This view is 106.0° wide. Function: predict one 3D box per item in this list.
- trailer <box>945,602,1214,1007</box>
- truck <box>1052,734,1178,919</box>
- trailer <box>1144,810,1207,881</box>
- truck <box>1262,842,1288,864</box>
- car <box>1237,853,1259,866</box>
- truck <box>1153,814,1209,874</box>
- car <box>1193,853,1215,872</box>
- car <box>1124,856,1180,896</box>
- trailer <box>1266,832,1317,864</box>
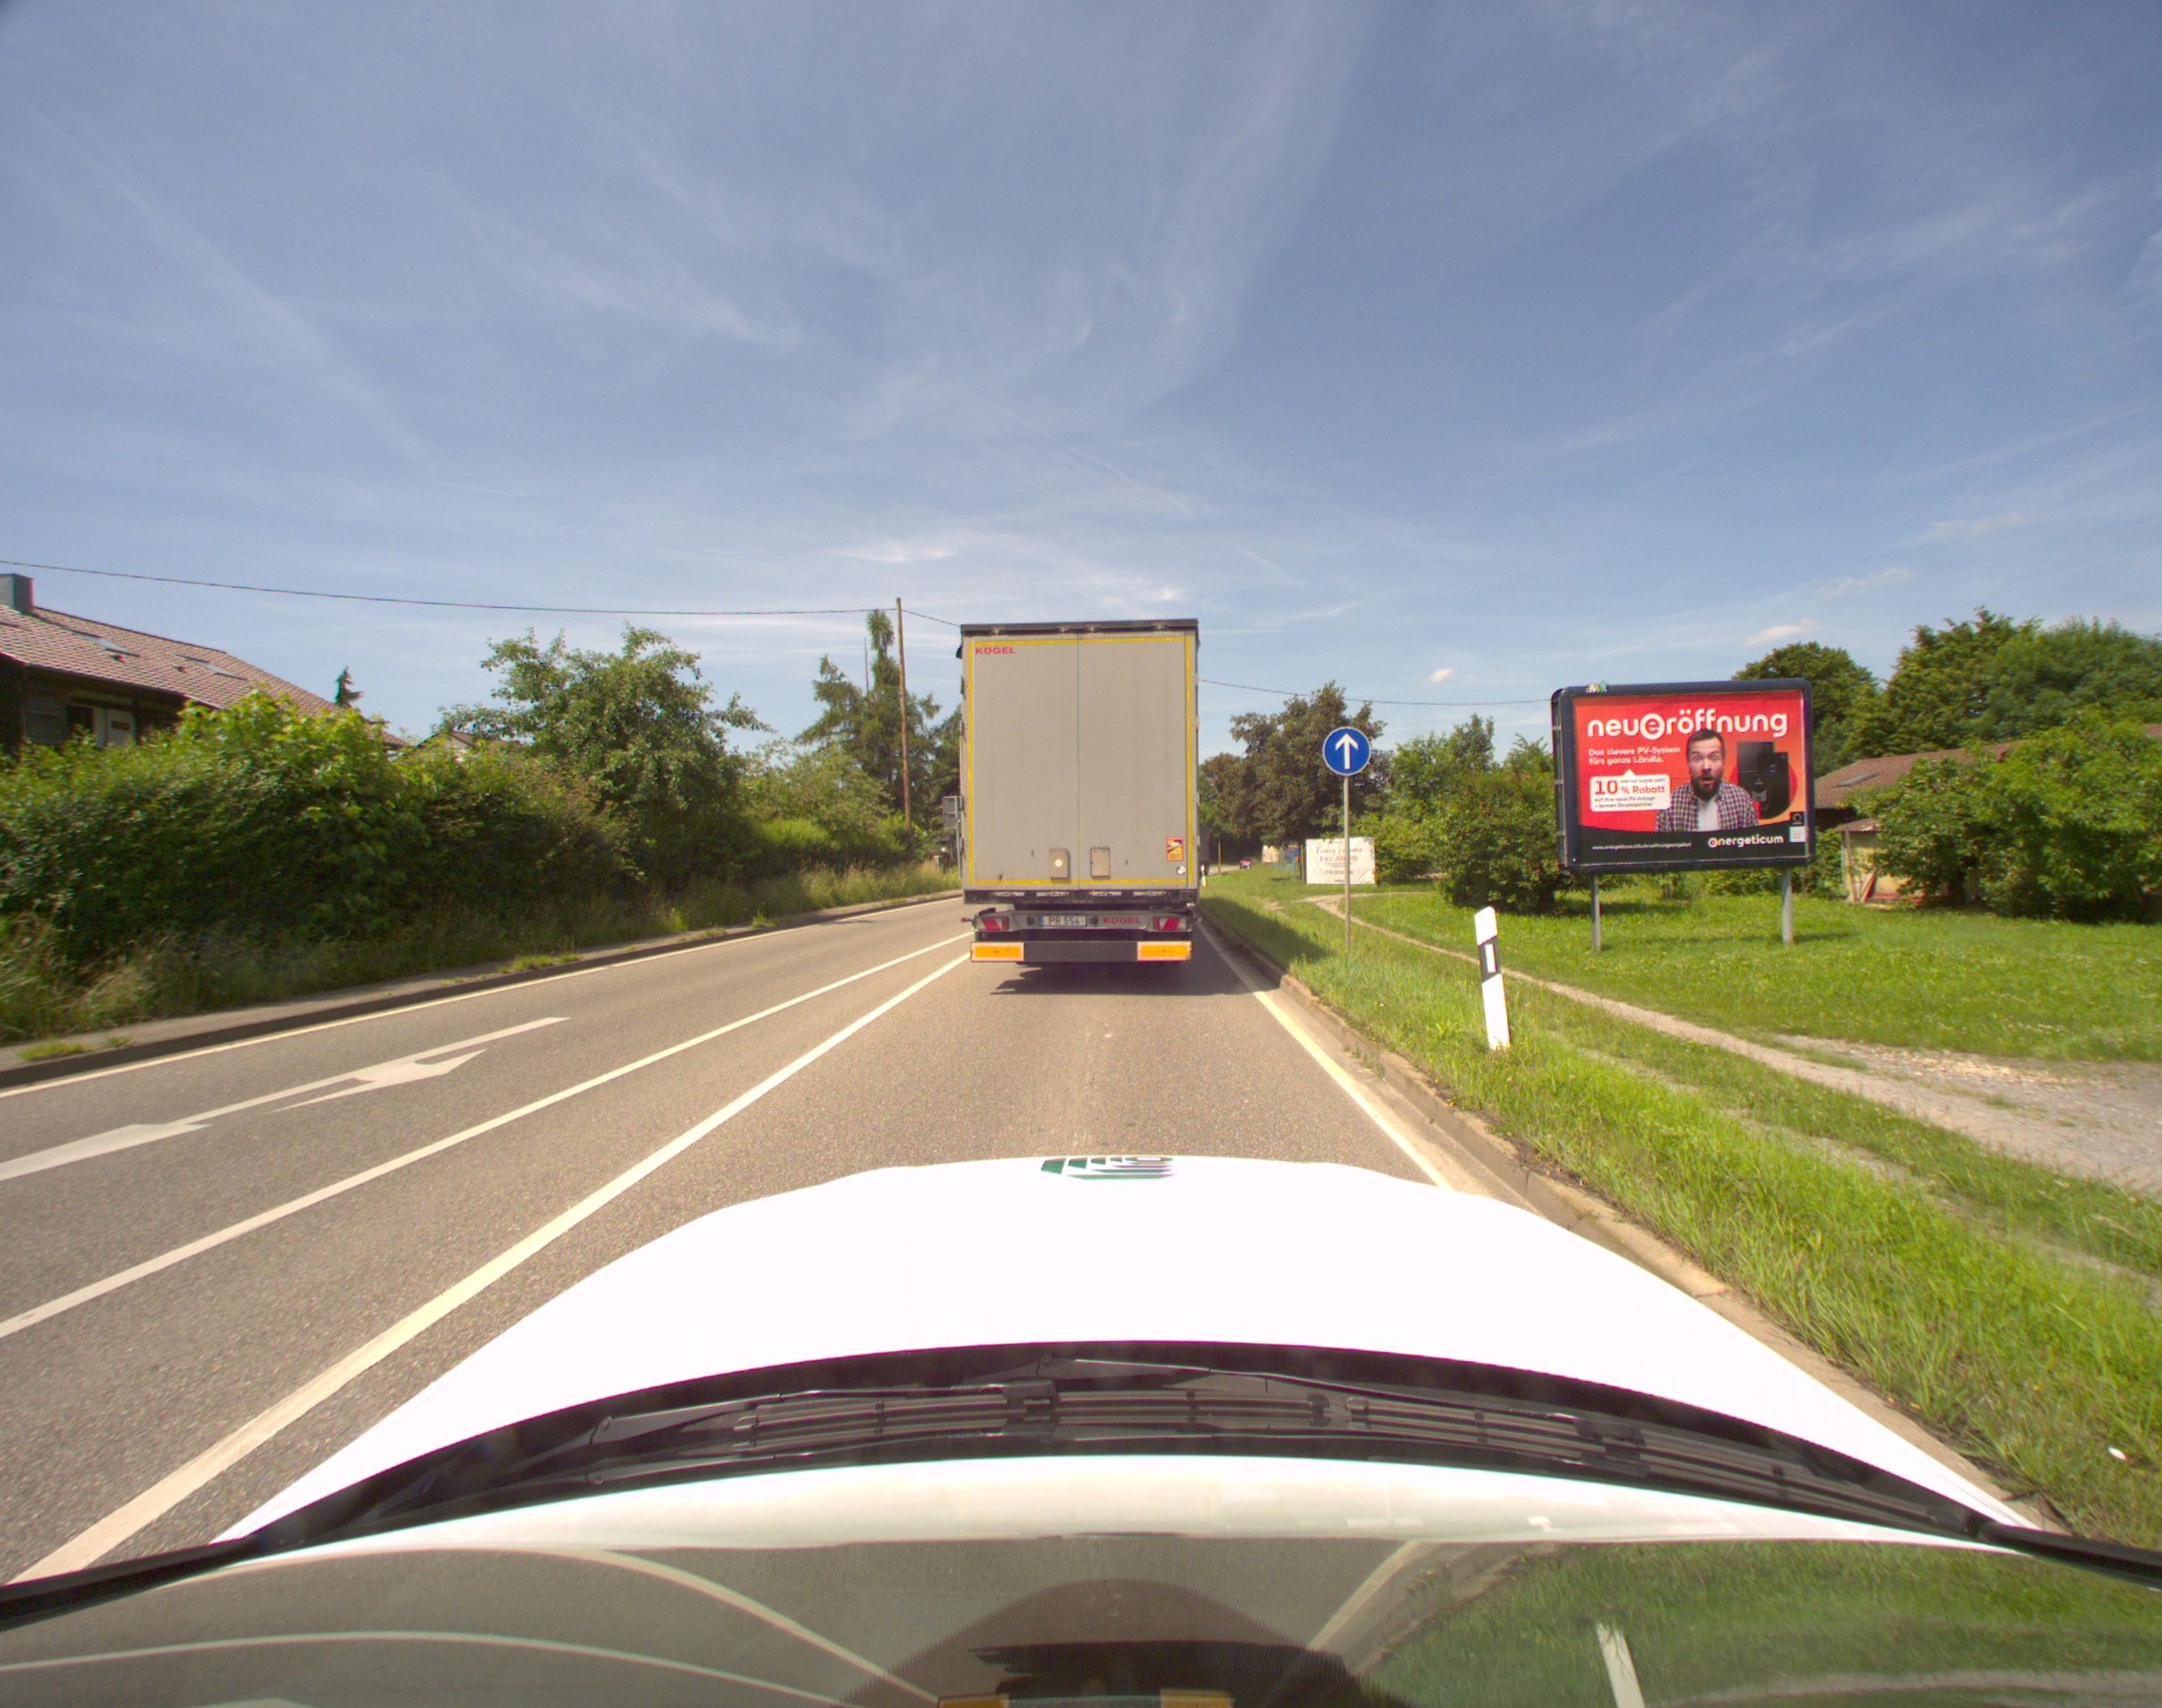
[{"bbox_3d":[0.475,-0.552,14.585,2.774,4.205,12.127,-1,0,5],"label":"trailer"},{"bbox_3d":[1.133,-0.634,21.569,2.731,4.165,6.156,-1,0,8],"label":"truck"},{"bbox_3d":[7.056,-0.623,58.988,3.868,4.520,12.746,-1,0,9],"label":"trailer"},{"bbox_3d":[26.232,-0.150,109.991,2.399,2.838,5.443,-1,0,24],"label":"truck"},{"bbox_3d":[20.342,0.693,98.973,1.825,1.486,4.022,-1,0,23],"label":"car"},{"bbox_3d":[8.207,-0.750,65.822,3.912,4.574,7.173,-1,0,11],"label":"truck"},{"bbox_3d":[13.303,0.898,88.061,1.979,1.837,4.016,-1,0,14],"label":"car"},{"bbox_3d":[2.991,0.859,33.442,1.982,1.530,4.010,0,0,9],"label":"car"},{"bbox_3d":[32.663,-0.983,125.660,5.133,4.628,15.984,-1,0,23],"label":"trailer"}]
